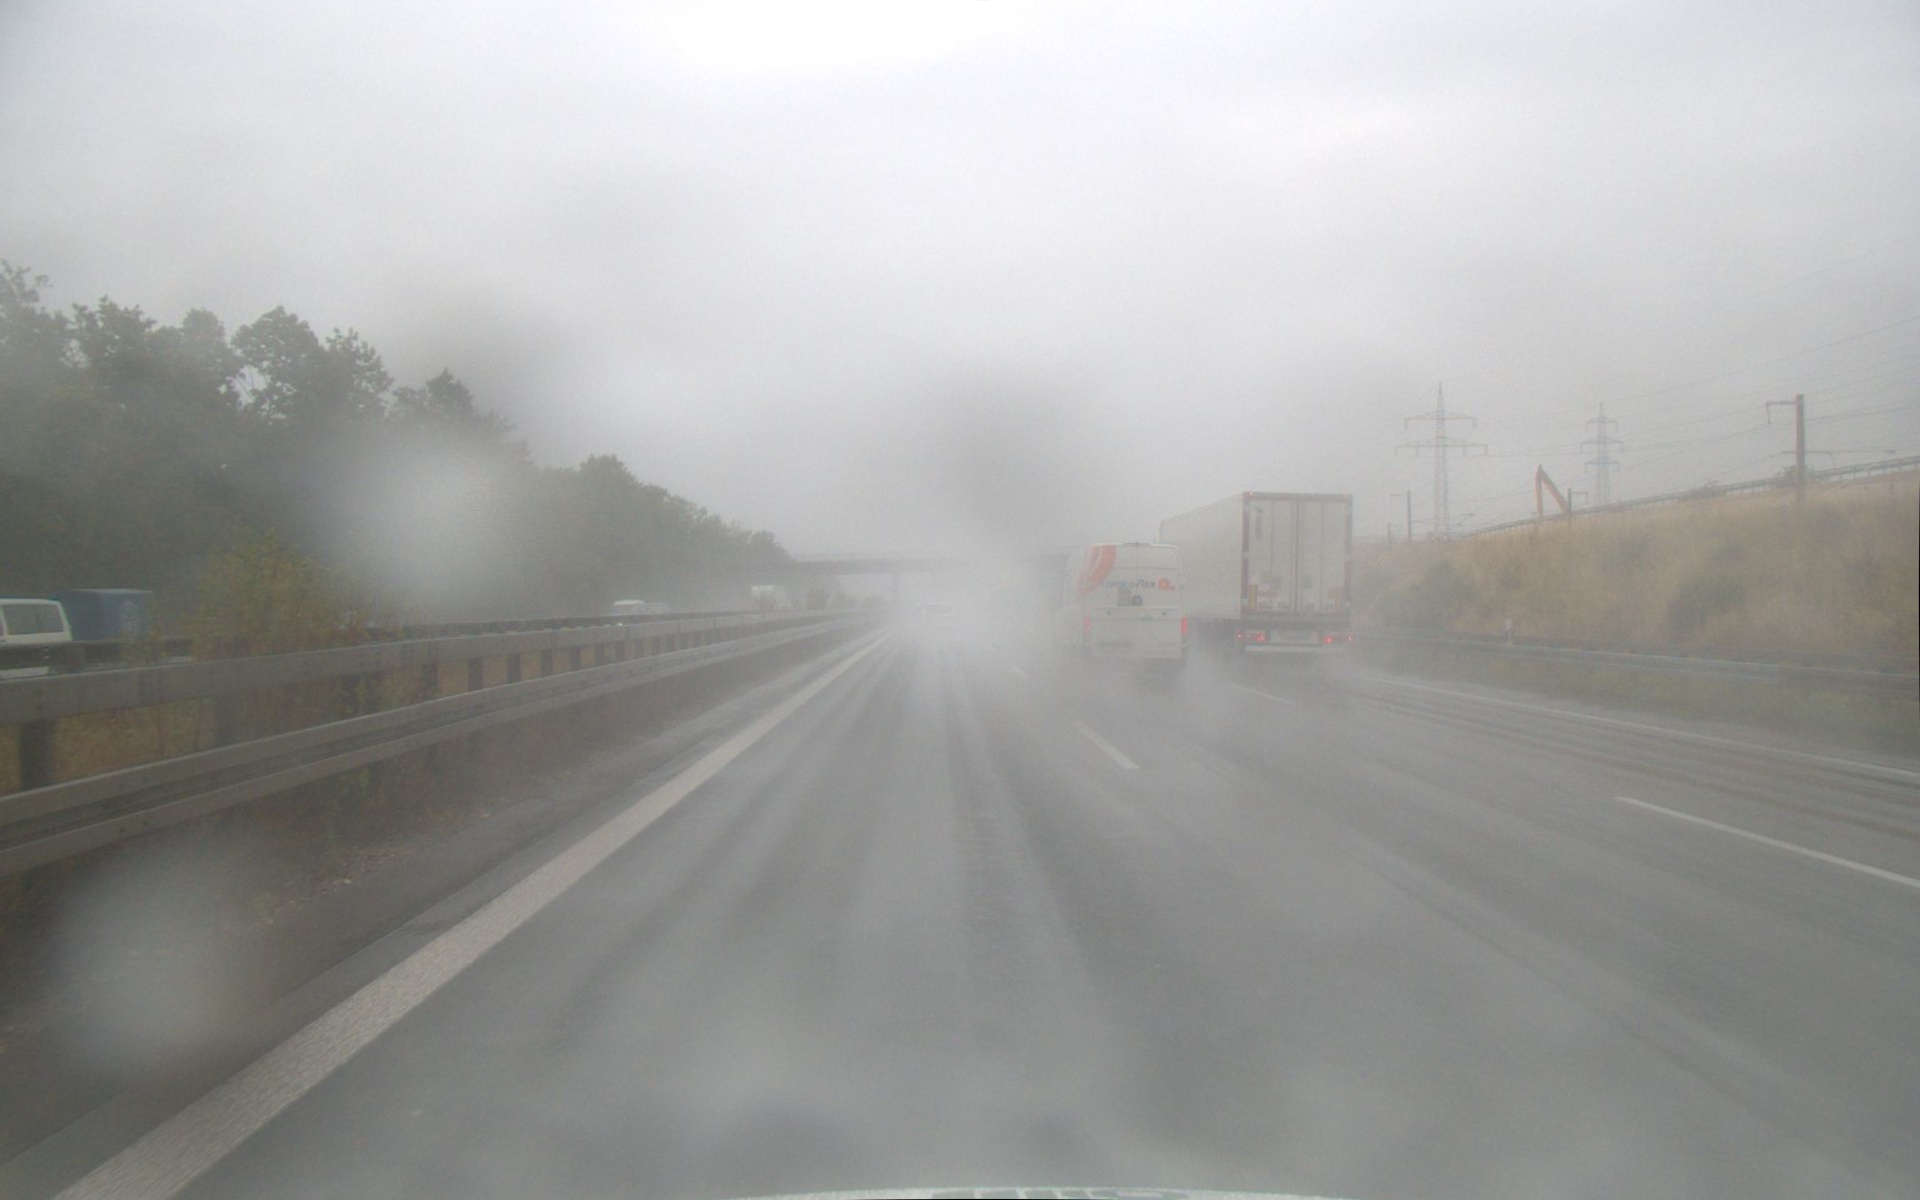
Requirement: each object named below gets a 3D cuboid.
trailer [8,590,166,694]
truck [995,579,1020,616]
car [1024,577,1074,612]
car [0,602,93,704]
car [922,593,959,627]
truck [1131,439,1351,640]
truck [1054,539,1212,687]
[{"bbox_3d":[-18.855,0.845,35.922,1.386,2.048,4.018,1,1,-2],"label":"trailer"},{"bbox_3d":[4.671,-0.276,164.522,2.066,3.577,5.246,1,1,-2],"label":"truck"},{"bbox_3d":[5.509,-0.380,103.054,2.731,2.048,4.992,1,1,-1],"label":"car"},{"bbox_3d":[-18.650,0.975,31.515,1.843,1.846,4.722,1,0,-2],"label":"car"},{"bbox_3d":[-0.861,0.413,72.958,1.573,1.361,3.848,1,1,-1],"label":"car"},{"bbox_3d":[7.463,-1.440,47.120,2.978,4.668,16.345,1,0,-2],"label":"truck"},{"bbox_3d":[3.185,0.174,31.700,2.370,2.536,5.560,1,1,0],"label":"truck"}]
